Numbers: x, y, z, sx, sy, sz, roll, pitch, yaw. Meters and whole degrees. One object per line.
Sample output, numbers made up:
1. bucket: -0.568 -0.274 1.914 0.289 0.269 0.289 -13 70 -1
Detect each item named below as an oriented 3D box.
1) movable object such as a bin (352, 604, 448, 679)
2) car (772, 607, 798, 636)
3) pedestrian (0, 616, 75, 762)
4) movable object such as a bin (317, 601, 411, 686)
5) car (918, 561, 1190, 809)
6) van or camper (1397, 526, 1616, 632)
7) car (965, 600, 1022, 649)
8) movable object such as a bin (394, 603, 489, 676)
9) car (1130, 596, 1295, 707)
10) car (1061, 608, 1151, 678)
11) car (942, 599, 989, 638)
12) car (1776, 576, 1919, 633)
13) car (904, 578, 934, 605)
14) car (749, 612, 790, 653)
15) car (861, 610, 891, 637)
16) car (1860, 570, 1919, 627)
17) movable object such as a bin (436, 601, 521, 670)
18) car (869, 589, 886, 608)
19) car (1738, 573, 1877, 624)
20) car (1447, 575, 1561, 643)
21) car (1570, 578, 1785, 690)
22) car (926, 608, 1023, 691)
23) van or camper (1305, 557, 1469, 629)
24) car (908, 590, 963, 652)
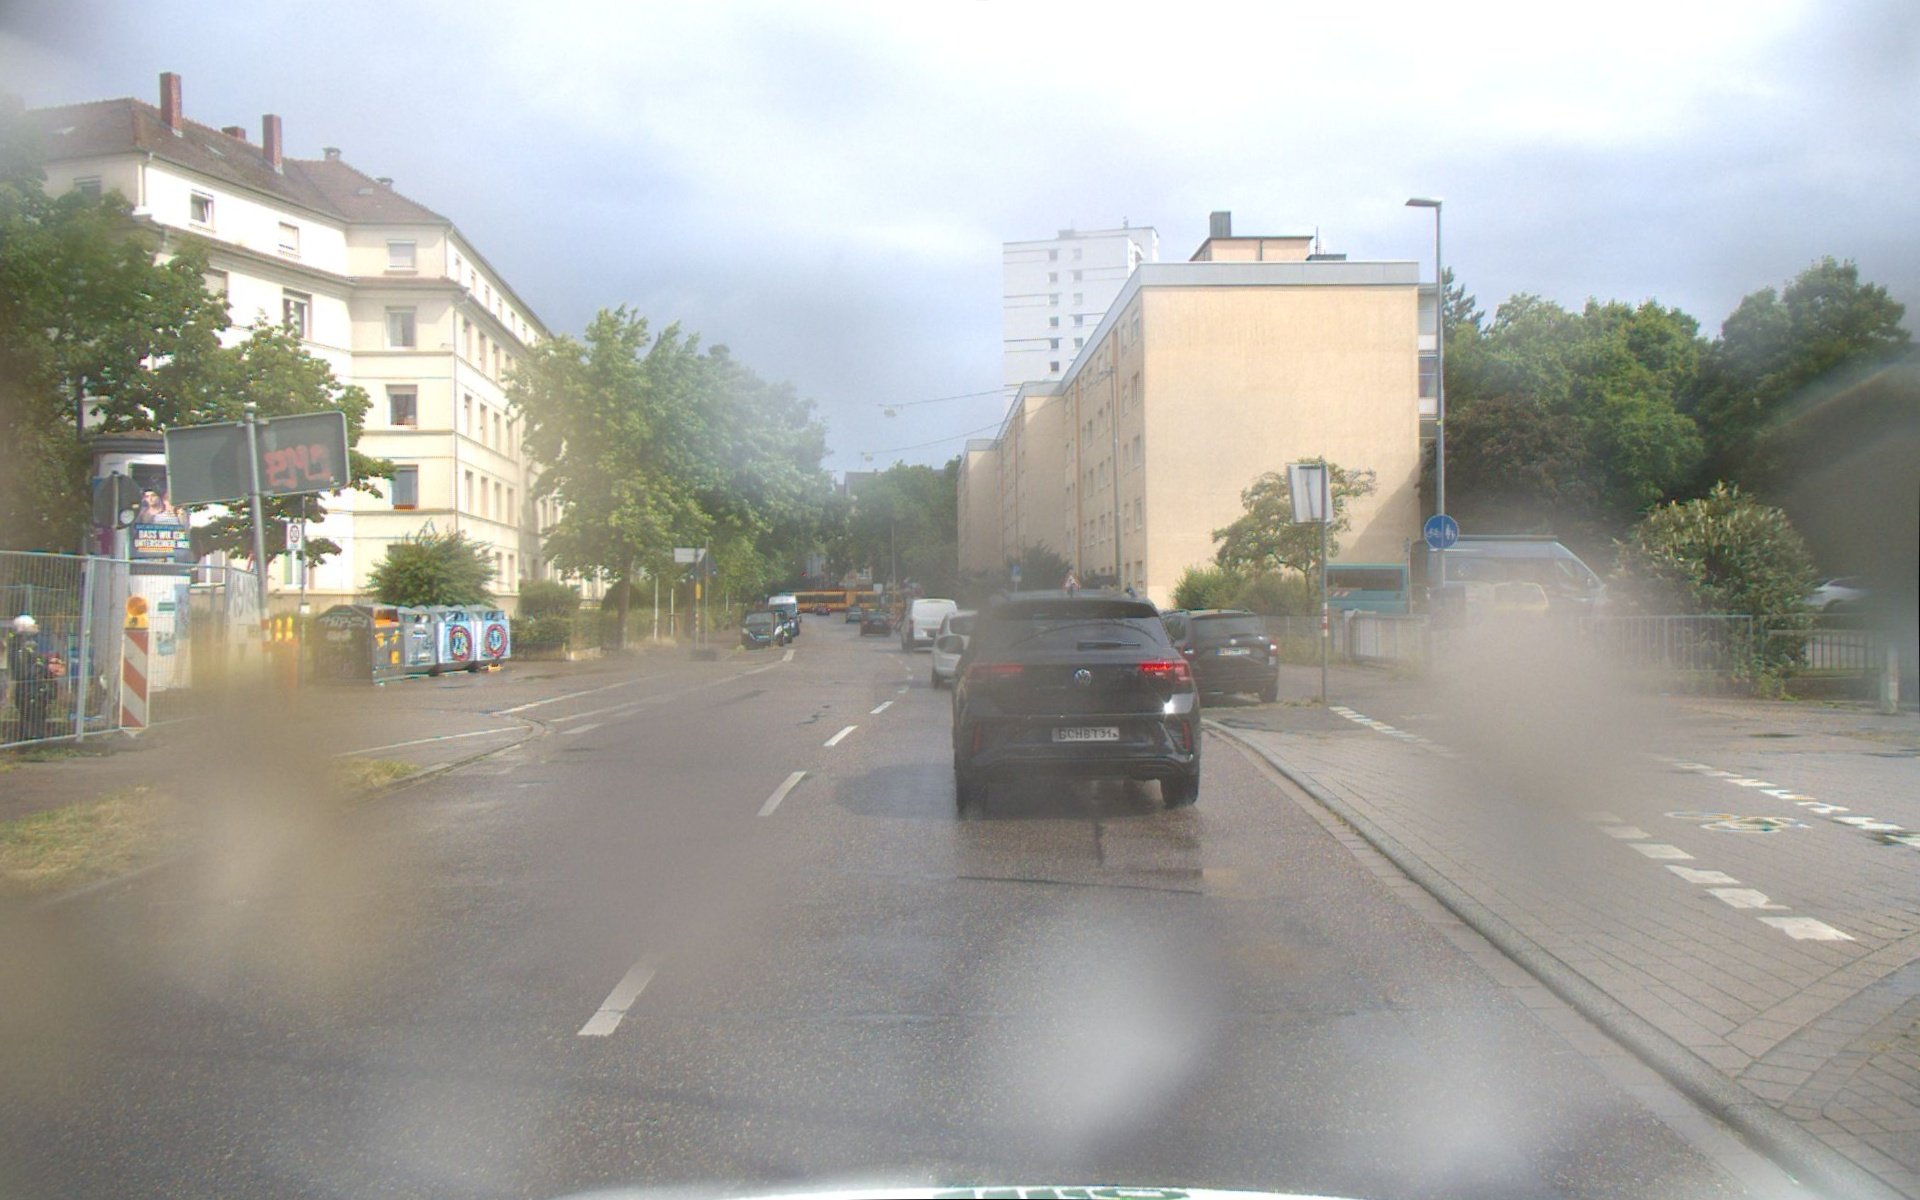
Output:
1. movable object such as a bin: -13.241 0.977 39.180 1.505 1.685 1.529 -2 0 17
2. car: -10.854 1.312 102.583 1.555 1.668 3.915 -2 0 -6
3. pedestrian: -10.846 1.029 19.364 0.716 1.658 0.674 2 -2 -39
4. movable object such as a bin: -13.547 0.973 37.629 1.505 1.856 1.264 -2 0 17
5. car: 0.597 0.617 13.338 1.835 1.674 4.060 1 -1 -2
6. van or camper: 14.002 -0.503 42.599 4.896 2.599 2.174 -1 -1 -1
7. car: 1.186 0.876 60.593 1.573 1.690 4.027 1 0 -6
8. movable object such as a bin: -12.757 0.953 40.758 1.505 1.703 1.667 -2 0 17
9. car: 4.031 0.788 27.089 1.739 1.566 4.375 -3 0 -3
10. car: 3.350 1.005 38.585 1.721 1.554 3.999 0 -1 0
11. car: 0.199 0.772 71.035 1.662 1.566 4.028 -2 0 -4
12. car: 25.755 0.130 47.719 3.590 1.512 1.639 -2 0 1
13. car: -2.631 -0.535 106.193 1.803 1.636 3.675 -2 0 -1
14. car: -7.665 1.287 66.774 1.555 1.532 4.059 -2 0 -6
15. car: -4.986 1.377 97.819 1.573 1.536 3.544 -2 0 -5
16. car: 26.989 -0.087 45.150 3.893 1.491 1.672 -2 0 0
17. movable object such as a bin: -12.300 0.906 42.290 1.505 1.691 1.460 -2 0 17
18. car: -8.463 -0.158 168.859 1.633 1.870 3.997 -2 0 -4
19. car: 27.096 -0.038 52.941 3.590 1.512 1.639 -2 0 1
20. car: 12.658 0.216 38.668 1.577 1.474 3.417 -2 0 1
21. car: 12.513 0.560 29.152 1.768 1.780 4.236 -2 0 -3
22. car: 0.232 0.965 33.012 1.776 1.529 3.998 1 -1 -2
23. van or camper: 13.540 -0.217 52.708 4.660 2.169 2.322 -1 0 2
24. car: -0.913 0.780 59.630 1.799 2.140 3.997 1 -1 -3
